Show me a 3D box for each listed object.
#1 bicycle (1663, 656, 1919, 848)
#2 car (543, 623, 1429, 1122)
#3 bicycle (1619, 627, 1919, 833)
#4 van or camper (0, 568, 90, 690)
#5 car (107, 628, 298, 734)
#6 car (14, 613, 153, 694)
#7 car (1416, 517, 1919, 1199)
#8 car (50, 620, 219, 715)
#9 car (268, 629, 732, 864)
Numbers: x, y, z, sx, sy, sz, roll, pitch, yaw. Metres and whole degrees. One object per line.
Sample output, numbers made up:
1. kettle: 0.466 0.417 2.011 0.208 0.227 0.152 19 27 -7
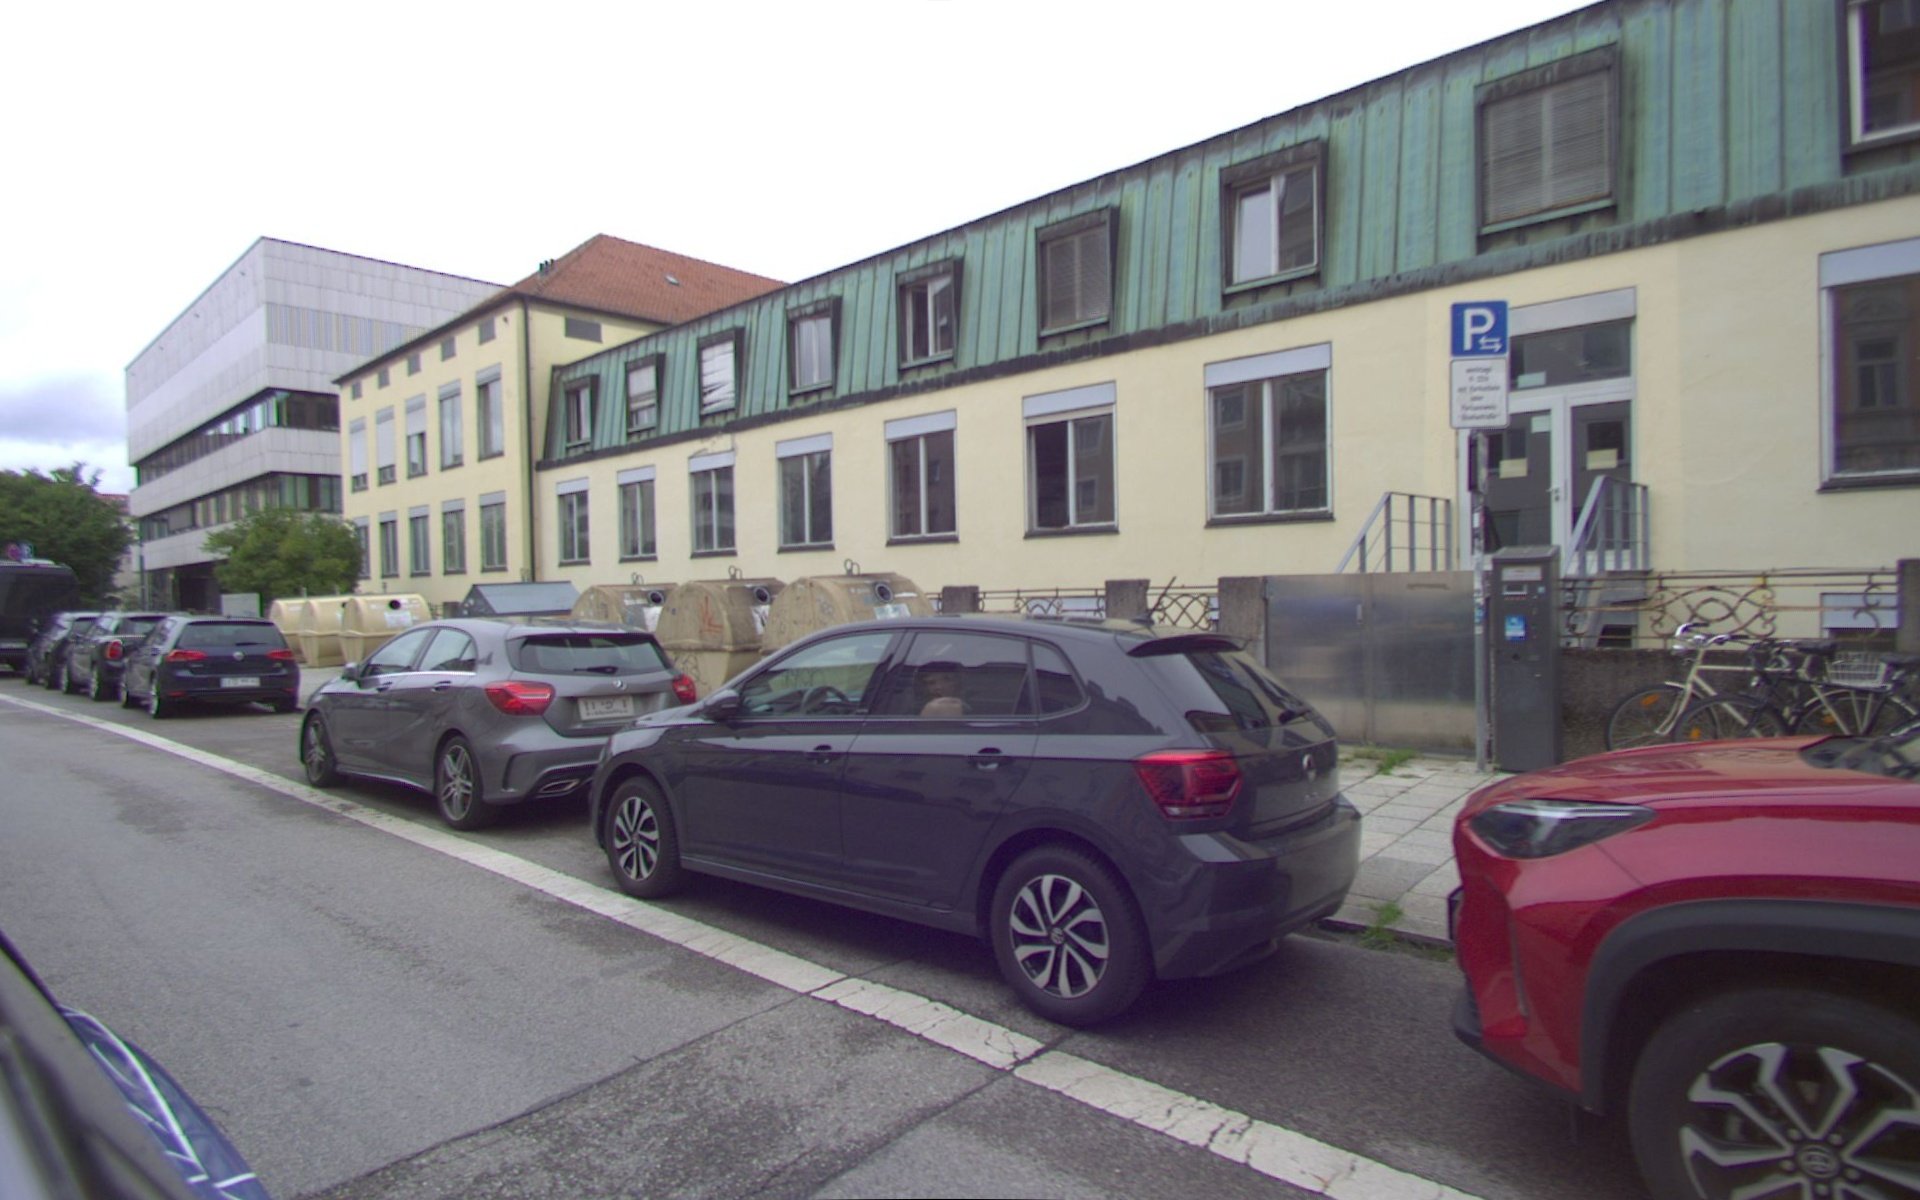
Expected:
1. bicycle: 5.263 0.871 5.989 0.450 1.003 1.741 -3 1 -44
2. car: -0.118 0.843 4.791 3.985 1.416 1.659 -1 -3 38
3. bicycle: 5.405 0.778 6.453 0.419 1.181 1.939 -3 1 -44
4. van or camper: -24.054 0.724 25.337 5.559 2.829 2.117 -1 -2 35
5. car: -11.679 1.158 15.507 4.001 1.416 1.676 -2 -4 44
6. car: -18.783 1.109 21.645 3.835 1.574 1.621 -1 -3 40
7. car: 3.138 0.649 1.755 3.993 1.578 1.658 -1 -3 40
8. car: -15.307 1.185 18.707 3.864 1.574 1.678 -1 -3 40
9. car: -3.838 0.956 8.132 4.124 1.416 1.775 -1 -3 40
